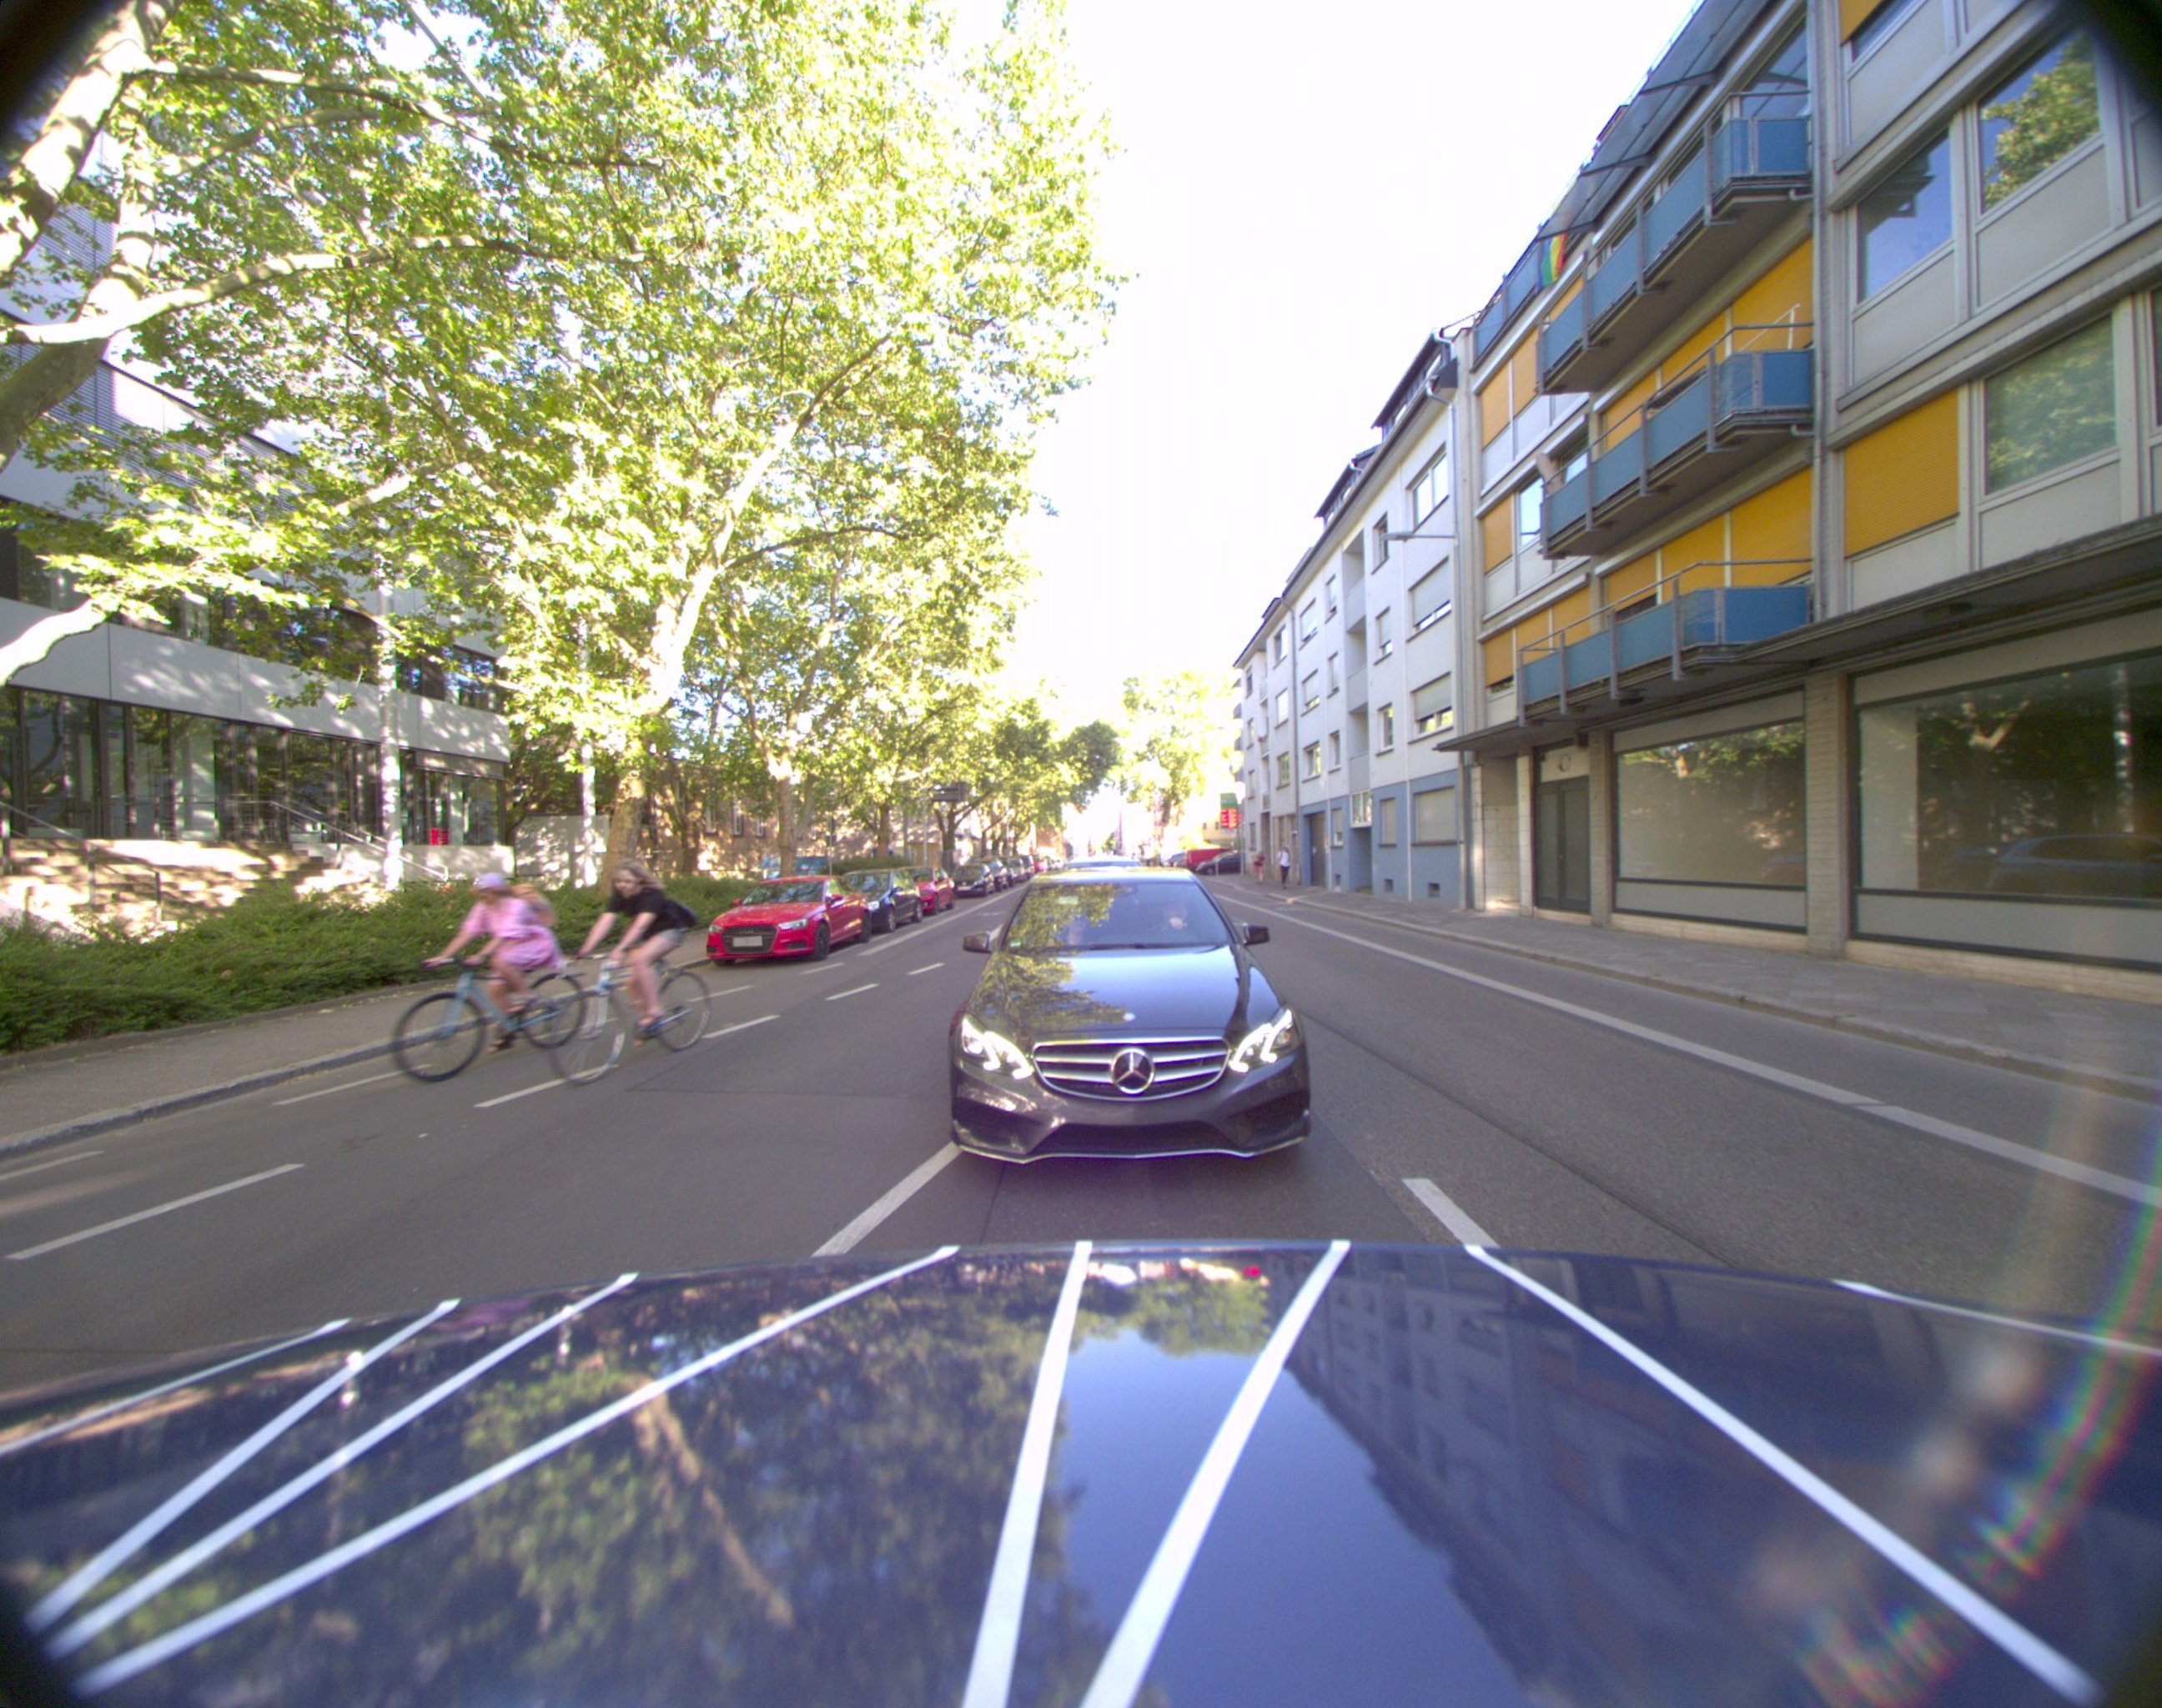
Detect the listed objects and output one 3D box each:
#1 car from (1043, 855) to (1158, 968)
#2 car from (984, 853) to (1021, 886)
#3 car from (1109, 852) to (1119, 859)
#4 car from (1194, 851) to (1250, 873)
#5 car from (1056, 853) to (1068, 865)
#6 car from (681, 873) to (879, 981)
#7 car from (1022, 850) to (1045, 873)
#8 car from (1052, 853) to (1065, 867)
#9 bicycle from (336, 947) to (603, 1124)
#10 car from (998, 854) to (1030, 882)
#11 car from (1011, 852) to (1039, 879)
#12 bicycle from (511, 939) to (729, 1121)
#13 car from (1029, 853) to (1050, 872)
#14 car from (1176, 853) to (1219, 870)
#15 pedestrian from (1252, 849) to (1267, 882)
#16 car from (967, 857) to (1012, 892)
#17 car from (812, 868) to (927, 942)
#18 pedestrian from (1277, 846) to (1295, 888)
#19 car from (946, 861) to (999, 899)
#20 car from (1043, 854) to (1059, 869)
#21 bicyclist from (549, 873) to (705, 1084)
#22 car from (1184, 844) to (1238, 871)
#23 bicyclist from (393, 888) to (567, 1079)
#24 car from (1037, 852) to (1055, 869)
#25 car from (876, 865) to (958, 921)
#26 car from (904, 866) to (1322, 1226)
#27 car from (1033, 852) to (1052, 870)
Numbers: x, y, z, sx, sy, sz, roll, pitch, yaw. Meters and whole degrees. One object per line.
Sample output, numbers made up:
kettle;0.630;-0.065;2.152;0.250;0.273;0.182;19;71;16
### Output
car;0.328;0.882;13.677;1.680;1.622;4.125;-3;0;1
car;-4.493;0.857;44.038;1.635;1.795;3.845;-3;0;1
car;7.136;0.313;164.250;1.853;1.455;4.099;-3;0;1
car;10.124;0.558;54.712;3.670;1.403;1.636;-3;0;1
car;-2.734;0.716;109.856;1.635;1.713;3.673;-3;0;1
car;-5.144;1.166;13.673;1.804;1.455;4.125;-3;0;1
car;-4.126;0.642;66.292;1.635;1.878;3.673;-3;0;1
car;-3.035;0.792;102.824;1.635;1.713;3.673;-3;0;1
bicycle;-4.884;1.390;6.275;0.602;0.979;1.881;-3;0;1
car;-4.416;0.900;50.678;1.635;1.644;3.845;-3;0;1
car;-4.068;0.831;55.488;1.635;1.799;3.673;-3;0;1
bicycle;-3.553;1.305;6.066;0.612;1.020;1.731;-3;0;1
car;-3.899;0.783;71.346;1.635;1.713;3.673;-3;0;1
car;9.573;0.638;62.616;3.325;1.241;1.295;-3;0;1
pedestrian;8.461;0.527;35.979;0.569;1.509;0.343;-3;1;1
car;-4.524;0.973;38.044;1.635;1.578;3.845;-3;0;1
car;-5.005;1.150;18.515;1.635;1.455;3.740;-3;0;1
pedestrian;8.497;0.533;31.548;0.569;1.716;0.343;-3;1;1
car;-4.682;1.097;33.167;1.635;1.455;3.740;-3;0;1
car;-3.624;0.927;92.537;1.635;1.713;3.673;-3;0;1
bicyclist;-3.567;0.931;6.043;0.612;1.507;0.889;-3;1;1
car;10.238;0.261;59.945;3.927;1.912;1.636;-3;0;1
bicyclist;-4.909;1.013;6.278;0.602;1.393;0.931;-3;1;1
car;-3.944;0.719;86.046;1.635;1.713;3.673;-3;0;1
car;-4.999;1.148;23.639;1.635;1.455;3.740;-3;0;1
car;0.172;0.899;5.468;1.804;1.455;4.125;-3;0;1
car;-3.977;0.717;78.167;1.635;1.713;3.673;-3;0;1
